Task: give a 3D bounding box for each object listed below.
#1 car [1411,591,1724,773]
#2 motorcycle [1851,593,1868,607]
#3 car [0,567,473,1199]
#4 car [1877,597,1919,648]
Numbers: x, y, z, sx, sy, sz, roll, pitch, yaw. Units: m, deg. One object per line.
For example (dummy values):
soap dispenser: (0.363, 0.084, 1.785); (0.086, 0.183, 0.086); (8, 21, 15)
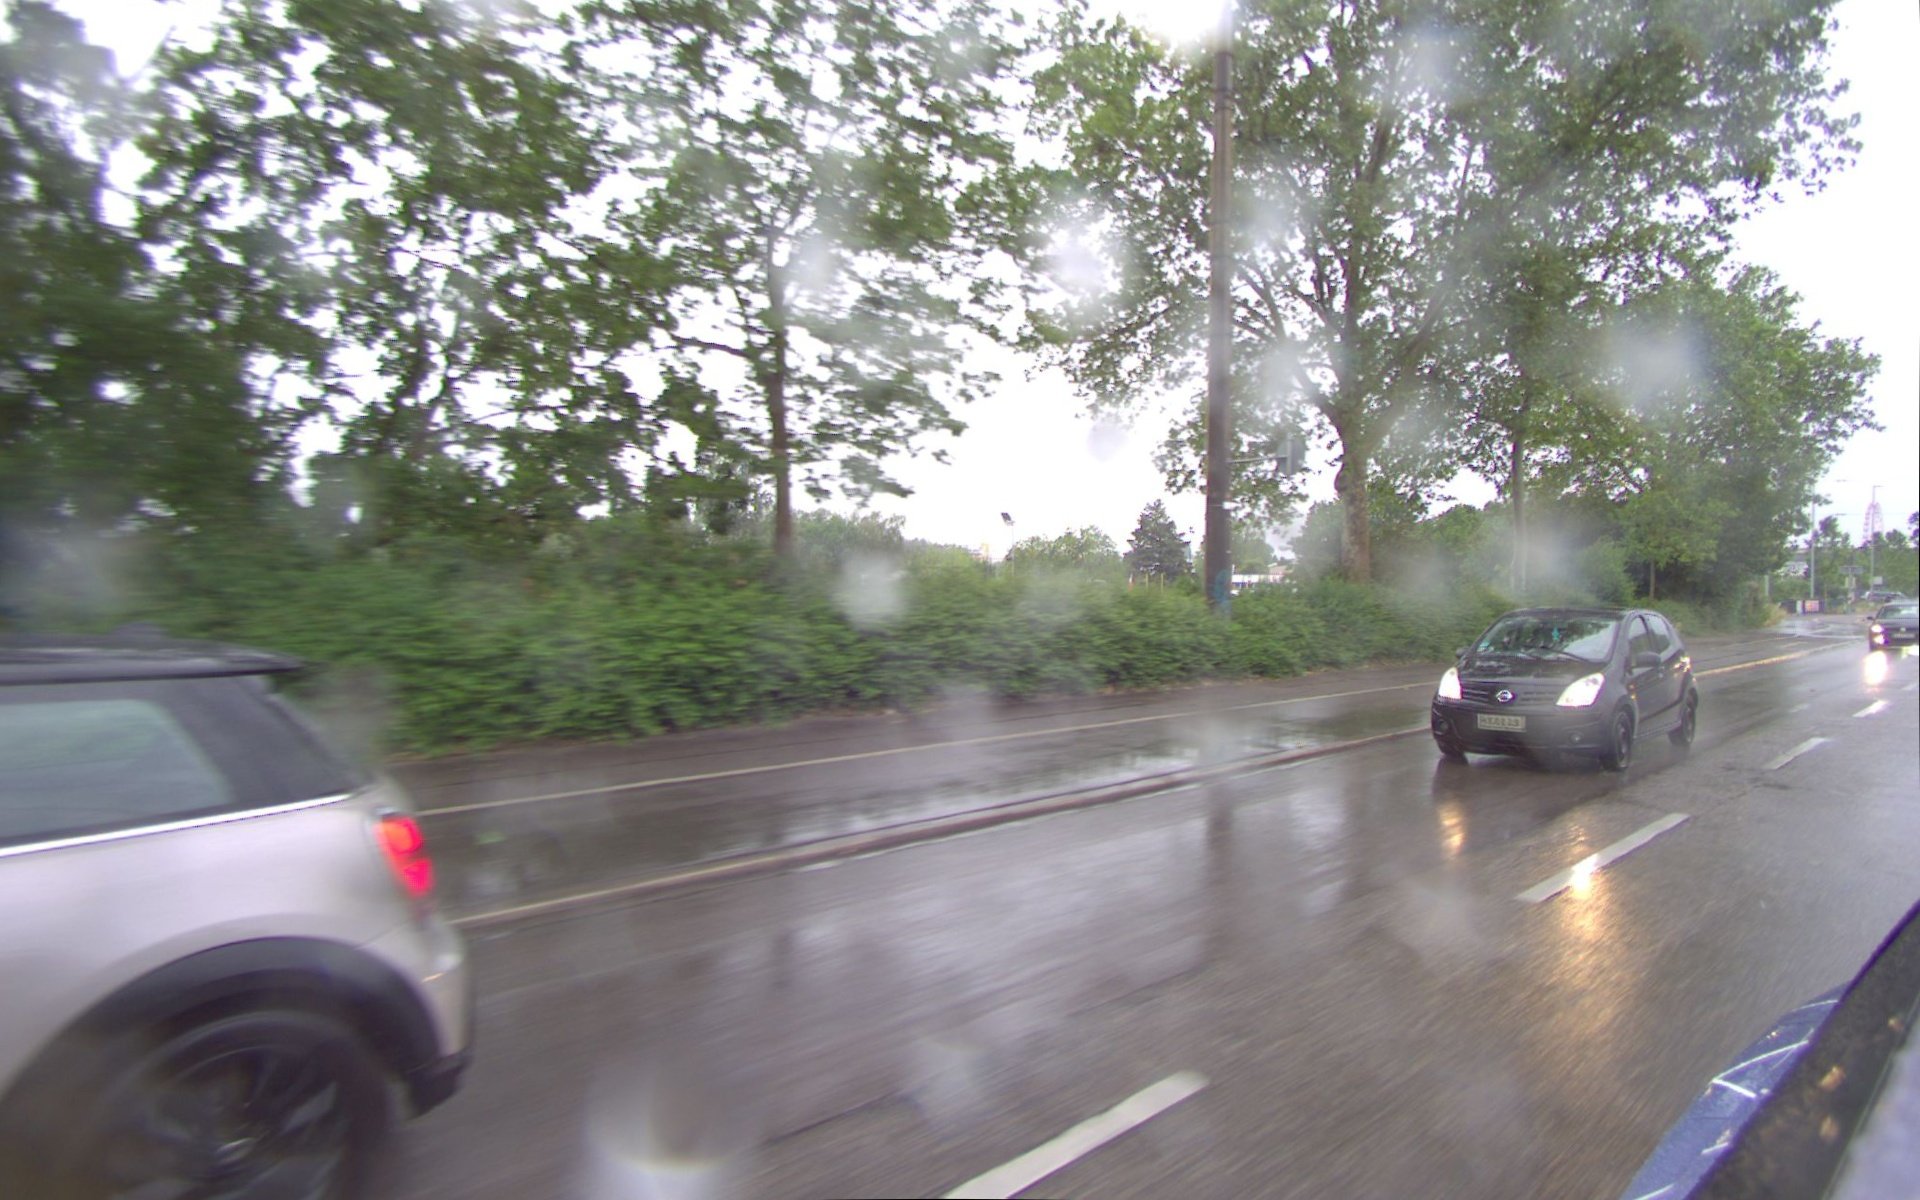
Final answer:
car: (6.293, 0.692, 10.289); (4.025, 1.480, 1.772); (1, -1, -45)
motorcycle: (77.138, -0.009, 86.772); (1.418, 1.234, 0.635); (0, 1, -29)
car: (-3.185, 0.714, 1.841); (3.788, 1.432, 1.793); (-2, -1, -42)
car: (29.491, 0.670, 30.911); (3.971, 1.504, 1.714); (1, -1, -41)
